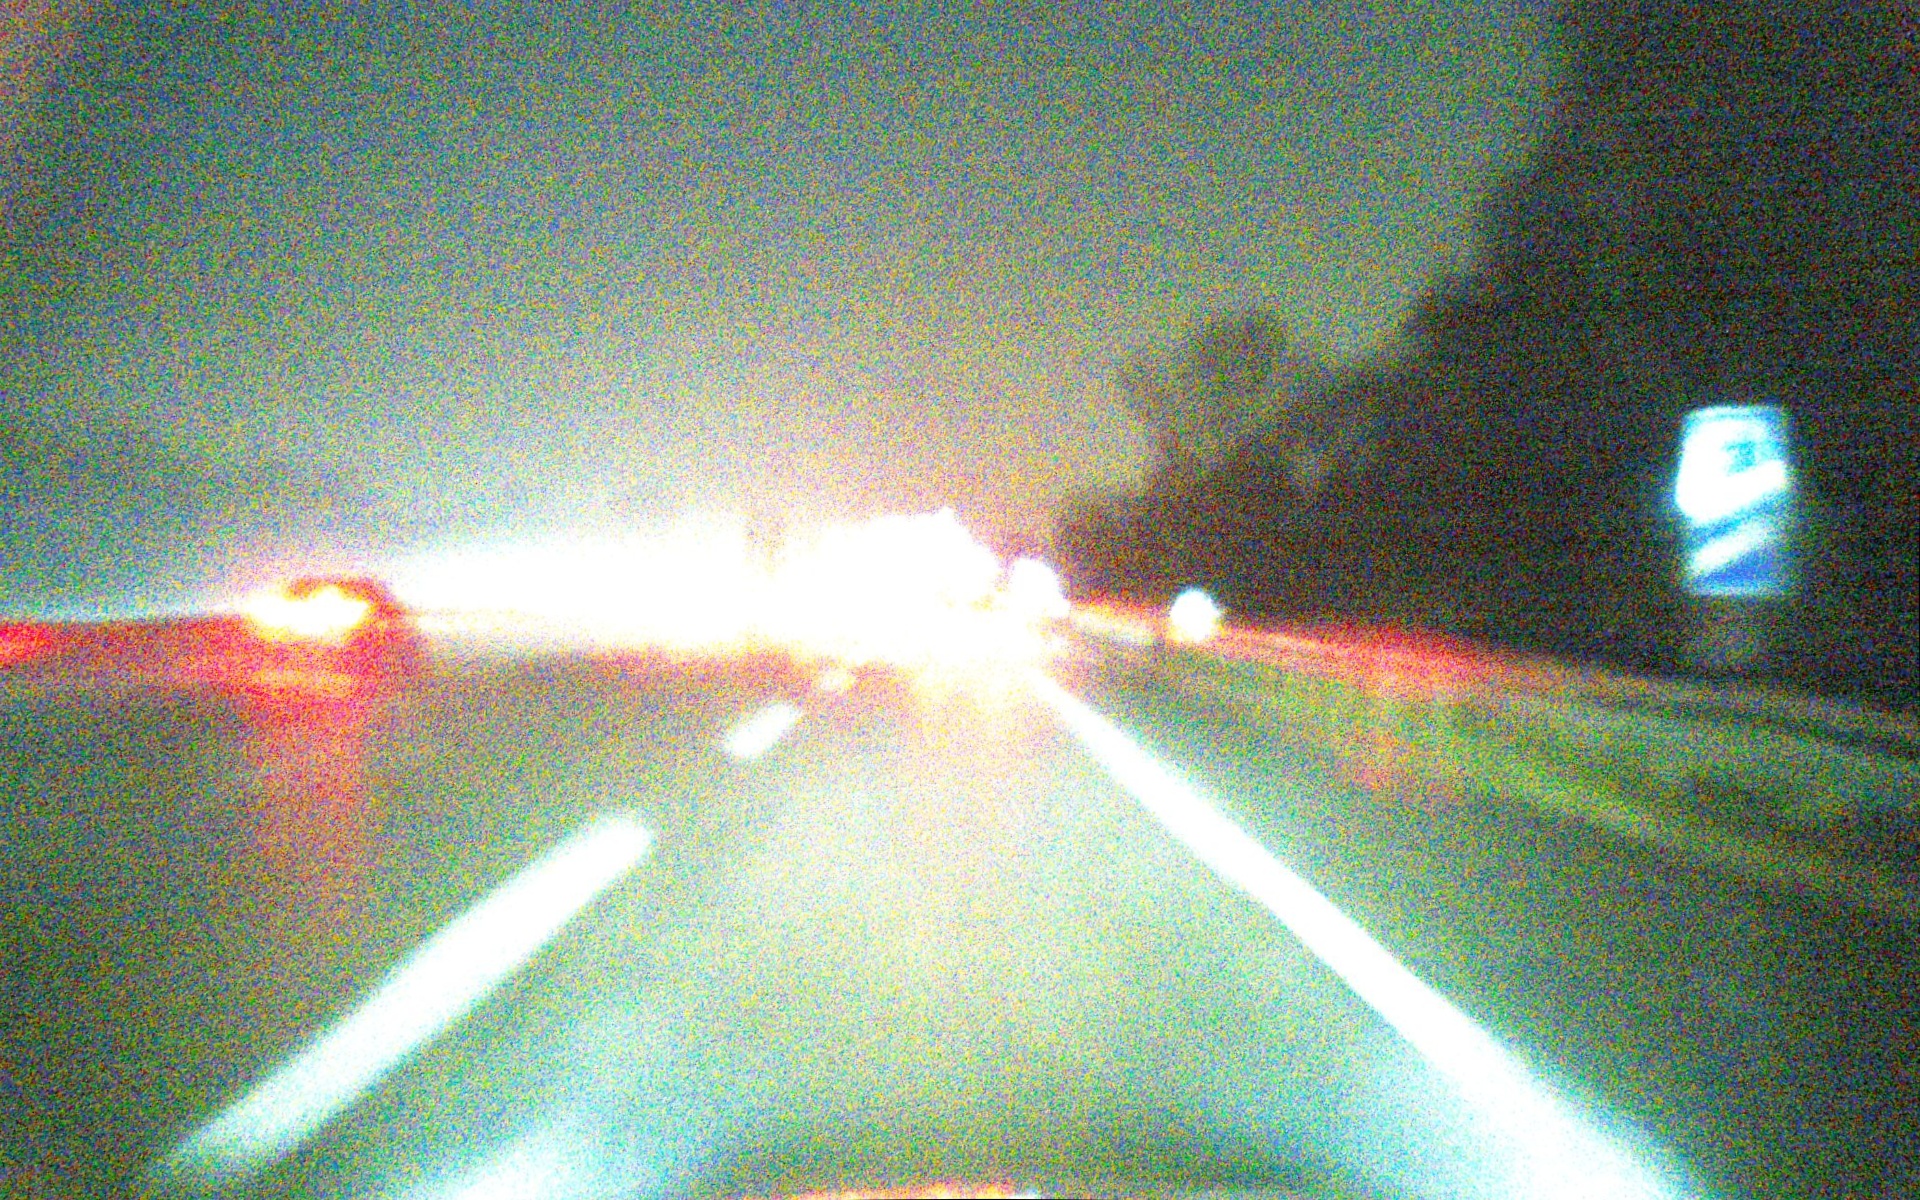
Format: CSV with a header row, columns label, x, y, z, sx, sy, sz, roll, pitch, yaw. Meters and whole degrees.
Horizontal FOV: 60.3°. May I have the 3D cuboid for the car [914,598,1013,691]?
label,x,y,z,sx,sy,sz,roll,pitch,yaw
car,0.023,0.897,34.996,1.953,1.839,3.999,1,0,-1

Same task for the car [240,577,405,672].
label,x,y,z,sx,sy,sz,roll,pitch,yaw
car,-11.788,0.440,30.858,1.956,1.624,3.993,1,0,-8

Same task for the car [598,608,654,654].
label,x,y,z,sx,sy,sz,roll,pitch,yaw
car,-12.671,1.165,62.968,1.661,1.679,3.836,1,0,-5

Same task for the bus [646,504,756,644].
label,x,y,z,sx,sy,sz,roll,pitch,yaw
bus,-9.279,-0.843,60.455,3.036,4.587,10.902,1,0,-5

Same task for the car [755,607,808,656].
label,x,y,z,sx,sy,sz,roll,pitch,yaw
car,-7.107,1.228,66.203,1.954,1.839,3.996,1,0,-4

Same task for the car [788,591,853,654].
label,x,y,z,sx,sy,sz,roll,pitch,yaw
car,-4.766,0.763,57.012,2.084,2.049,4.642,1,0,-4

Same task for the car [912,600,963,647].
label,x,y,z,sx,sy,sz,roll,pitch,yaw
car,-1.073,1.045,76.139,2.084,2.049,4.642,1,0,-4

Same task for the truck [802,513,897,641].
label,x,y,z,sx,sy,sz,roll,pitch,yaw
truck,-5.253,-1.018,80.882,4.125,5.747,11.463,1,0,-2

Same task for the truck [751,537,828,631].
label,x,y,z,sx,sy,sz,roll,pitch,yaw
truck,-11.080,-0.979,108.978,4.125,5.747,11.463,1,0,-2

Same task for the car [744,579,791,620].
label,x,y,z,sx,sy,sz,roll,pitch,yaw
car,-8.913,-0.019,76.794,1.954,1.839,3.996,1,0,-4
